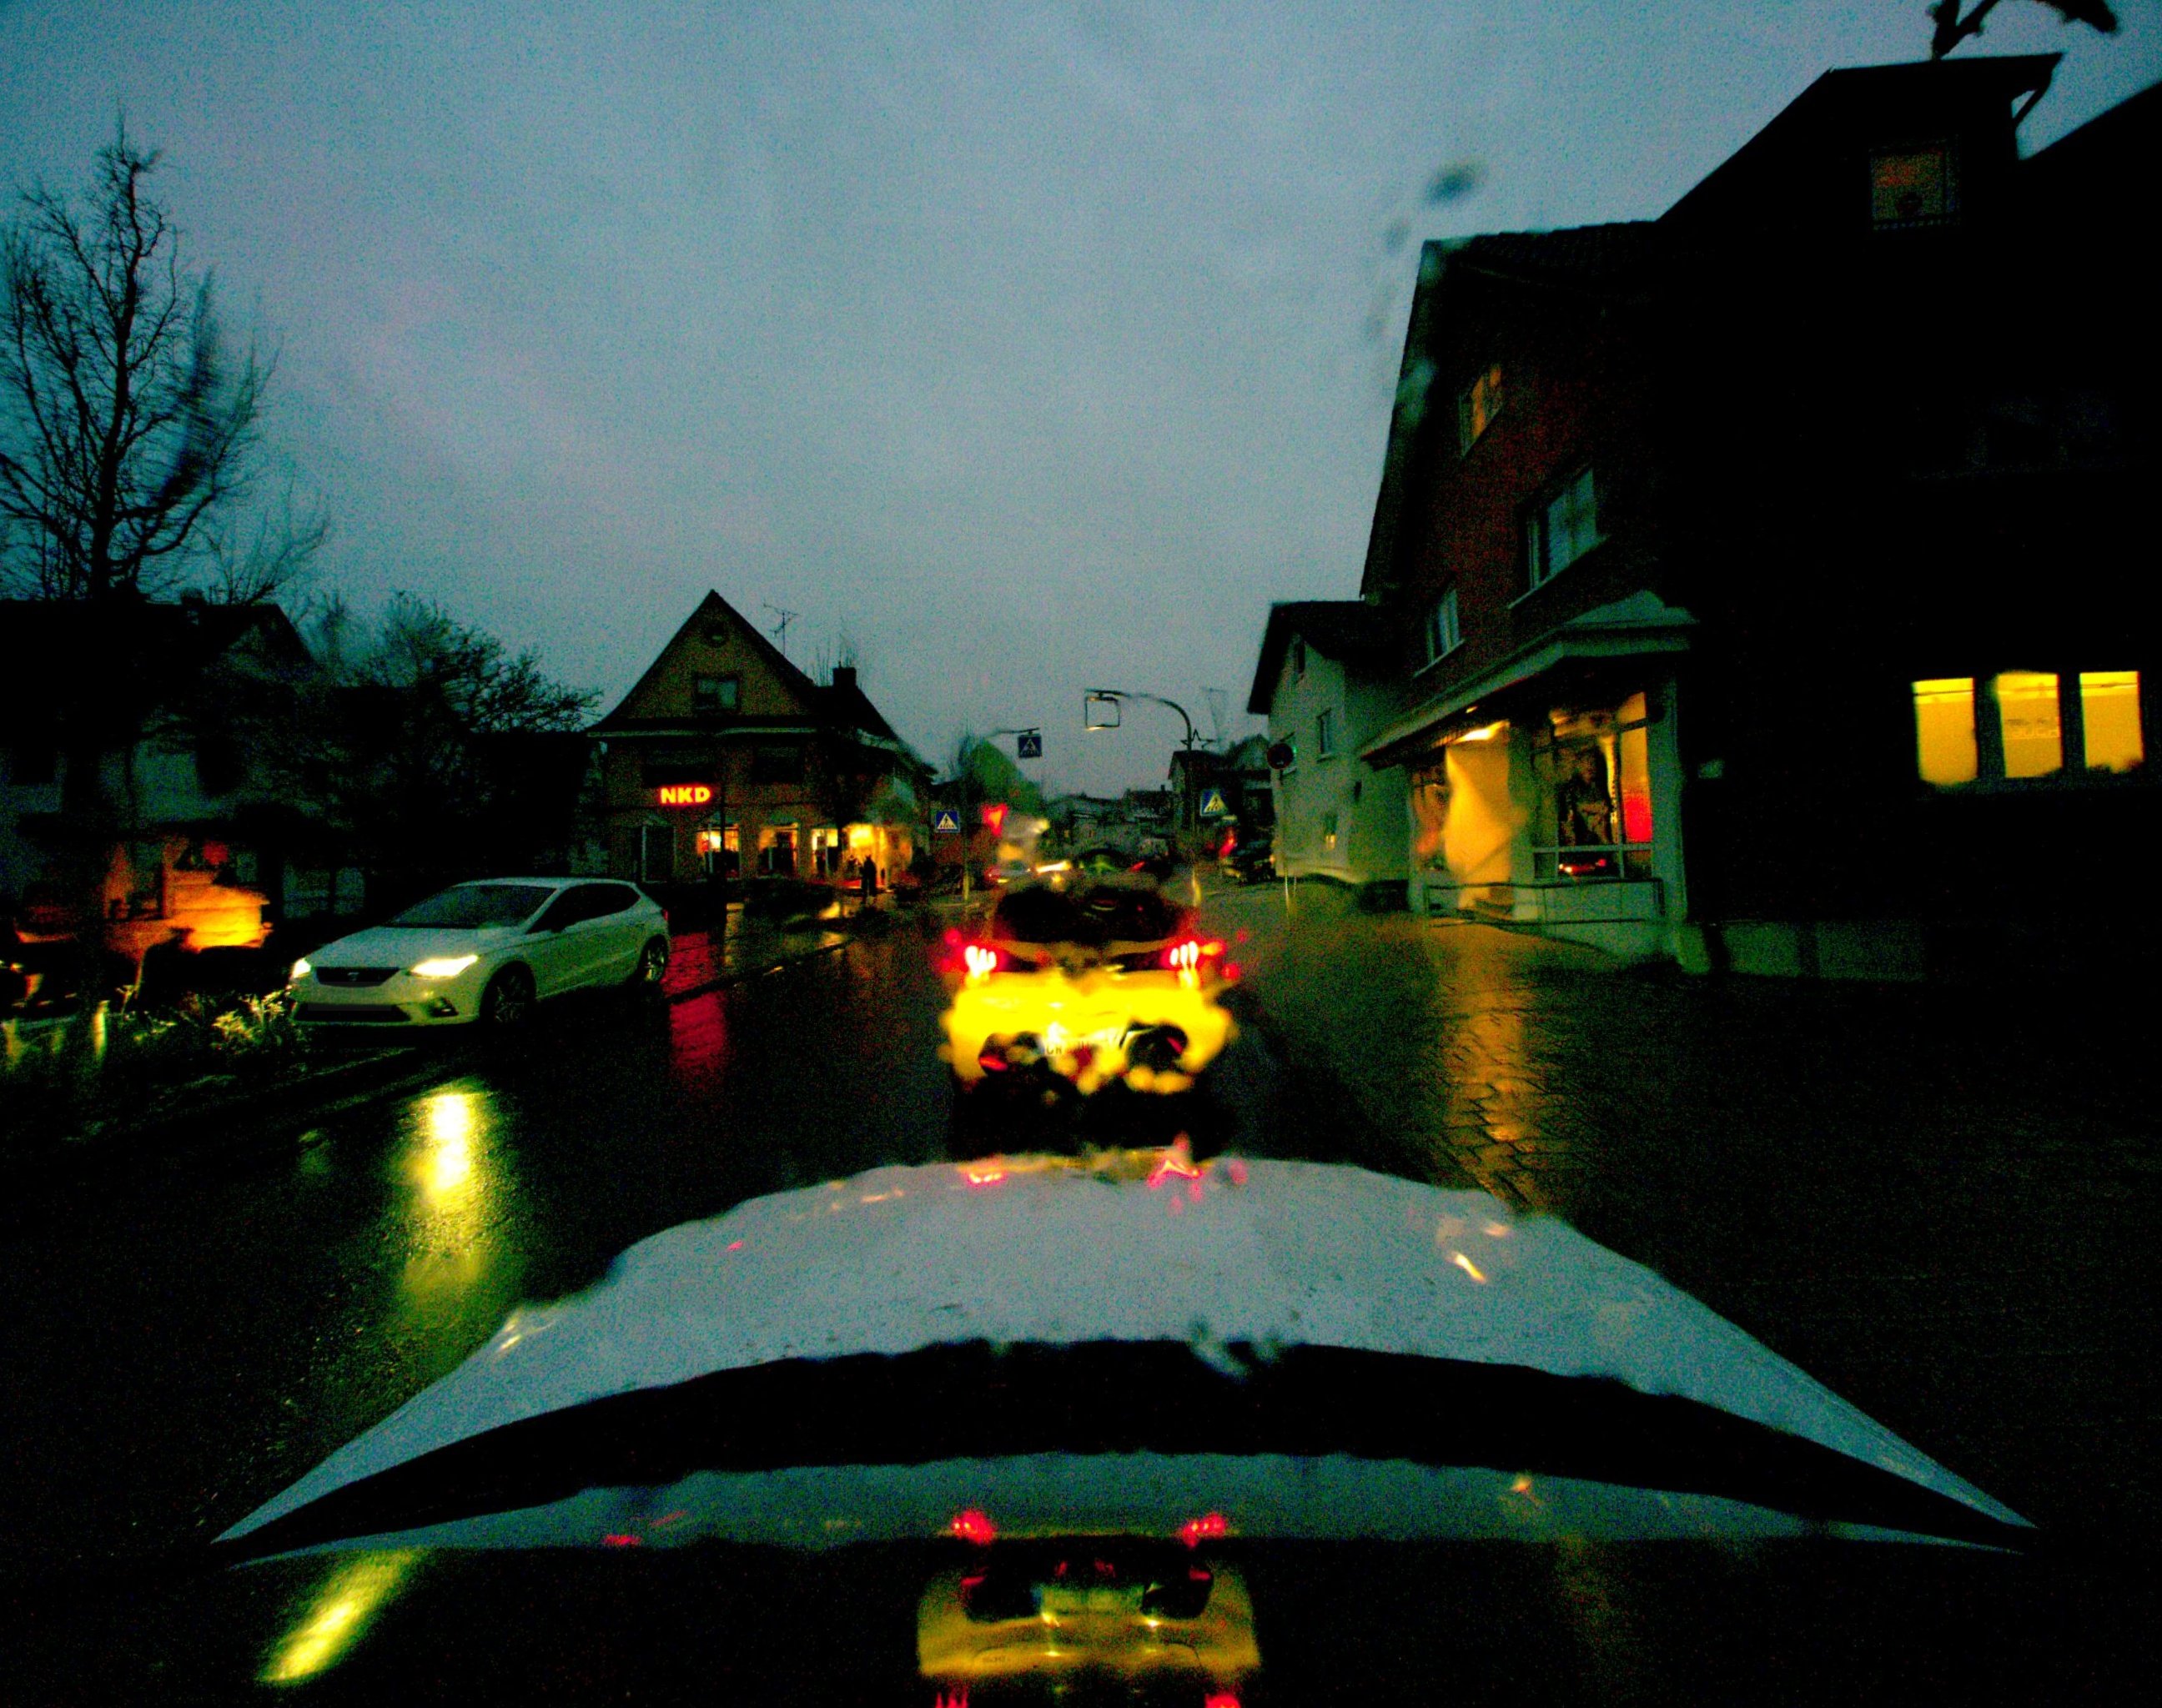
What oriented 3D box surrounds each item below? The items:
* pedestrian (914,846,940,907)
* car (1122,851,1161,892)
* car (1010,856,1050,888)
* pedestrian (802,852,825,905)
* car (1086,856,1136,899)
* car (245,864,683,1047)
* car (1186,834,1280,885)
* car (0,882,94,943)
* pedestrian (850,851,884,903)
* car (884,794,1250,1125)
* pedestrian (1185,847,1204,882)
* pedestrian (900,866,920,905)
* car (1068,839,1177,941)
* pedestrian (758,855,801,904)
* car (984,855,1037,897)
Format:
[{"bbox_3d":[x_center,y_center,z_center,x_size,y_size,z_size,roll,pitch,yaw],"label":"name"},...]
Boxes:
[{"bbox_3d":[-4.783,0.694,25.314,0.701,1.876,0.616,0,0,-4],"label":"pedestrian"},{"bbox_3d":[3.139,0.871,42.991,1.637,2.013,3.999,-3,0,-1],"label":"car"},{"bbox_3d":[-2.997,1.044,48.393,1.986,1.752,4.362,-1,0,1],"label":"car"},{"bbox_3d":[-8.973,0.807,27.330,0.587,1.742,0.683,-1,-1,-6],"label":"pedestrian"},{"bbox_3d":[1.271,0.891,32.900,1.819,1.601,4.586,-1,0,4],"label":"car"},{"bbox_3d":[-6.254,0.891,8.962,1.663,1.516,4.002,0,0,2],"label":"car"},{"bbox_3d":[6.204,0.247,33.577,3.679,2.014,1.691,-1,-1,5],"label":"car"},{"bbox_3d":[-29.448,1.587,21.634,3.894,1.519,1.608,-1,0,-12],"label":"car"},{"bbox_3d":[-7.369,0.765,28.050,0.972,1.742,0.960,0,0,-5],"label":"pedestrian"},{"bbox_3d":[0.104,0.576,6.835,1.984,1.795,4.654,-2,0,5],"label":"car"},{"bbox_3d":[6.660,0.629,47.912,1.011,2.014,1.277,-1,-1,7],"label":"pedestrian"},{"bbox_3d":[-5.475,0.998,26.066,0.551,1.233,0.433,-1,-1,-2],"label":"pedestrian"},{"bbox_3d":[0.798,0.613,15.462,1.790,1.662,4.003,-1,-1,3],"label":"car"},{"bbox_3d":[-9.371,0.785,25.318,0.886,1.417,0.777,5,-1,6],"label":"pedestrian"},{"bbox_3d":[-3.507,1.068,41.453,1.985,2.014,4.366,-1,0,4],"label":"car"}]
